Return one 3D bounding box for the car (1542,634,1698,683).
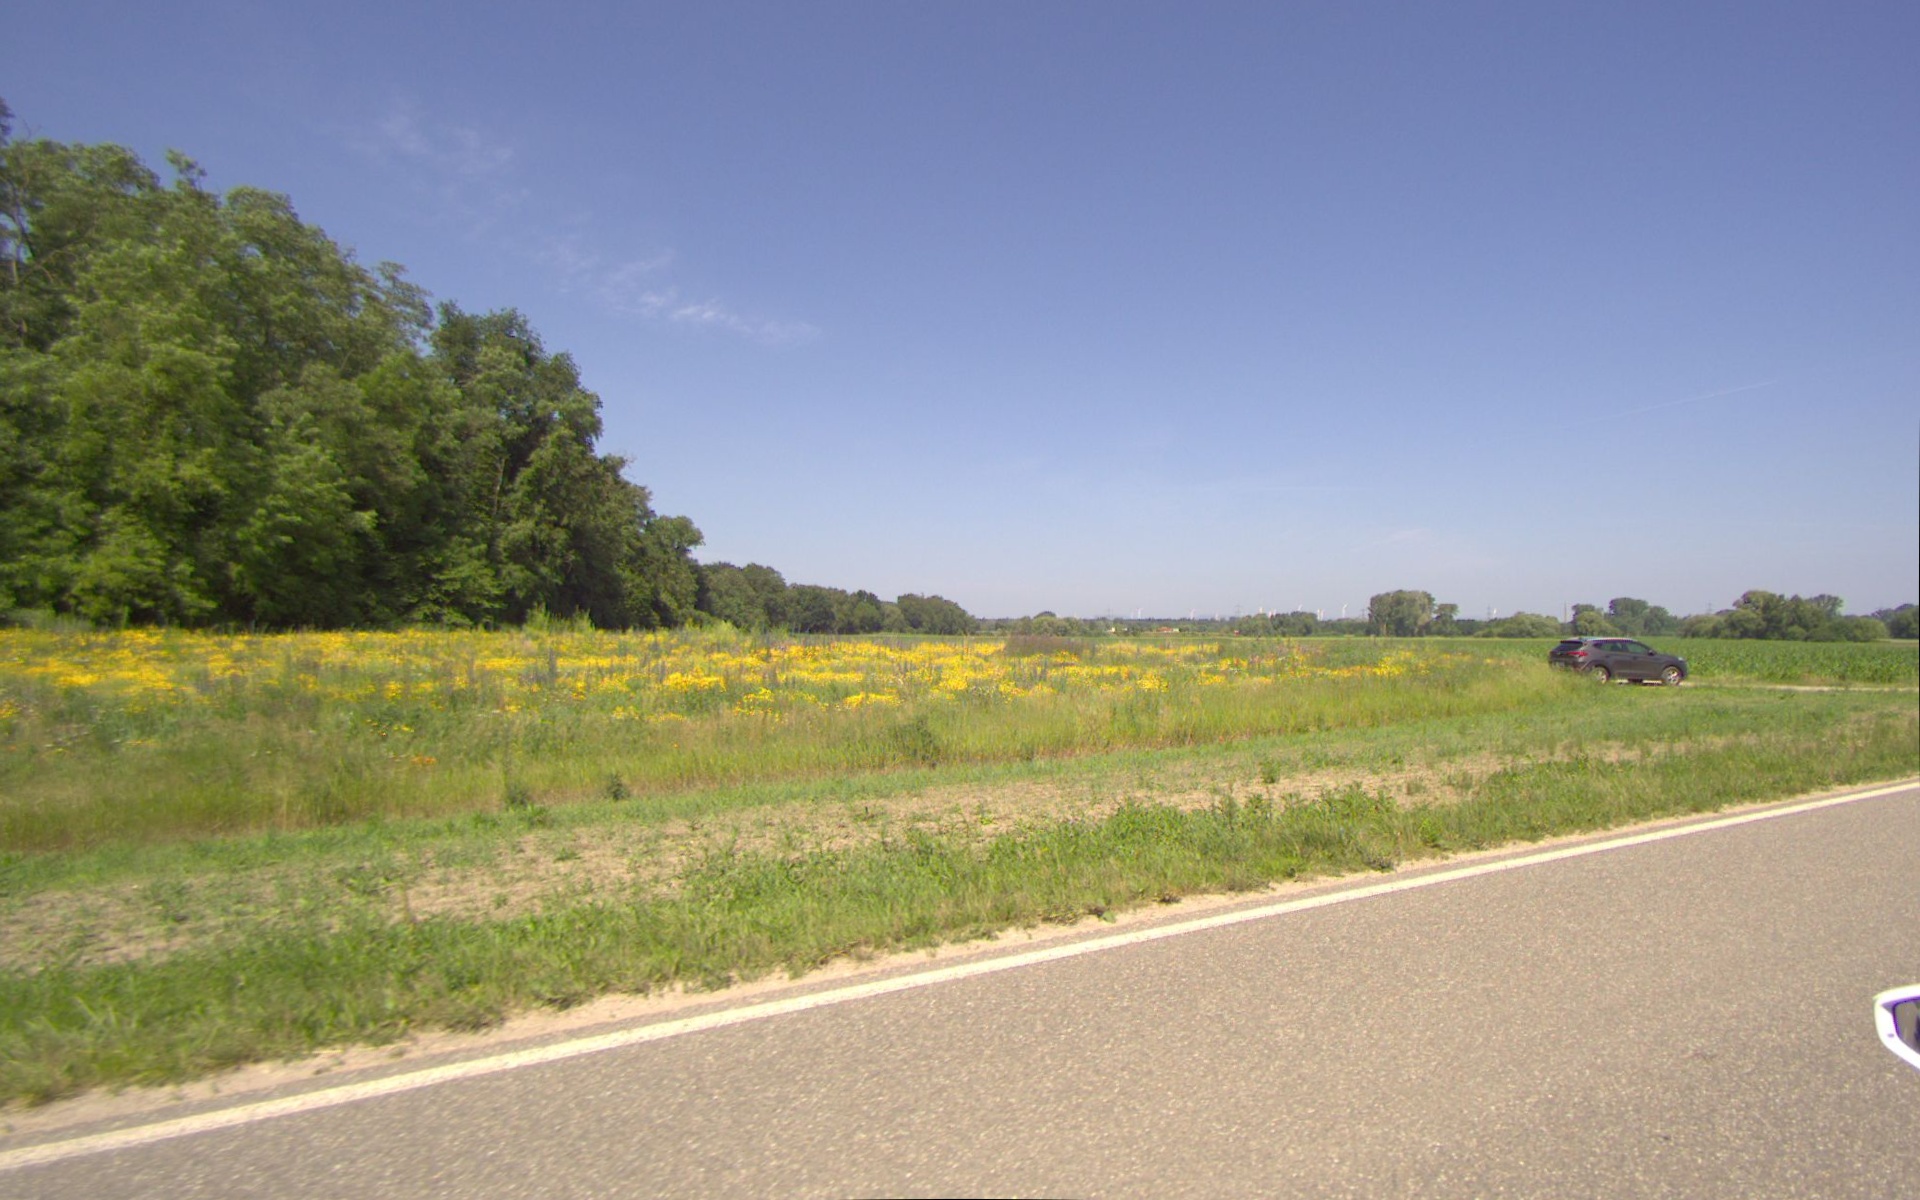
[{"bbox_3d":[23.124,2.032,35.279,4.443,1.673,1.758,0,-2,-4],"label":"car"}]
